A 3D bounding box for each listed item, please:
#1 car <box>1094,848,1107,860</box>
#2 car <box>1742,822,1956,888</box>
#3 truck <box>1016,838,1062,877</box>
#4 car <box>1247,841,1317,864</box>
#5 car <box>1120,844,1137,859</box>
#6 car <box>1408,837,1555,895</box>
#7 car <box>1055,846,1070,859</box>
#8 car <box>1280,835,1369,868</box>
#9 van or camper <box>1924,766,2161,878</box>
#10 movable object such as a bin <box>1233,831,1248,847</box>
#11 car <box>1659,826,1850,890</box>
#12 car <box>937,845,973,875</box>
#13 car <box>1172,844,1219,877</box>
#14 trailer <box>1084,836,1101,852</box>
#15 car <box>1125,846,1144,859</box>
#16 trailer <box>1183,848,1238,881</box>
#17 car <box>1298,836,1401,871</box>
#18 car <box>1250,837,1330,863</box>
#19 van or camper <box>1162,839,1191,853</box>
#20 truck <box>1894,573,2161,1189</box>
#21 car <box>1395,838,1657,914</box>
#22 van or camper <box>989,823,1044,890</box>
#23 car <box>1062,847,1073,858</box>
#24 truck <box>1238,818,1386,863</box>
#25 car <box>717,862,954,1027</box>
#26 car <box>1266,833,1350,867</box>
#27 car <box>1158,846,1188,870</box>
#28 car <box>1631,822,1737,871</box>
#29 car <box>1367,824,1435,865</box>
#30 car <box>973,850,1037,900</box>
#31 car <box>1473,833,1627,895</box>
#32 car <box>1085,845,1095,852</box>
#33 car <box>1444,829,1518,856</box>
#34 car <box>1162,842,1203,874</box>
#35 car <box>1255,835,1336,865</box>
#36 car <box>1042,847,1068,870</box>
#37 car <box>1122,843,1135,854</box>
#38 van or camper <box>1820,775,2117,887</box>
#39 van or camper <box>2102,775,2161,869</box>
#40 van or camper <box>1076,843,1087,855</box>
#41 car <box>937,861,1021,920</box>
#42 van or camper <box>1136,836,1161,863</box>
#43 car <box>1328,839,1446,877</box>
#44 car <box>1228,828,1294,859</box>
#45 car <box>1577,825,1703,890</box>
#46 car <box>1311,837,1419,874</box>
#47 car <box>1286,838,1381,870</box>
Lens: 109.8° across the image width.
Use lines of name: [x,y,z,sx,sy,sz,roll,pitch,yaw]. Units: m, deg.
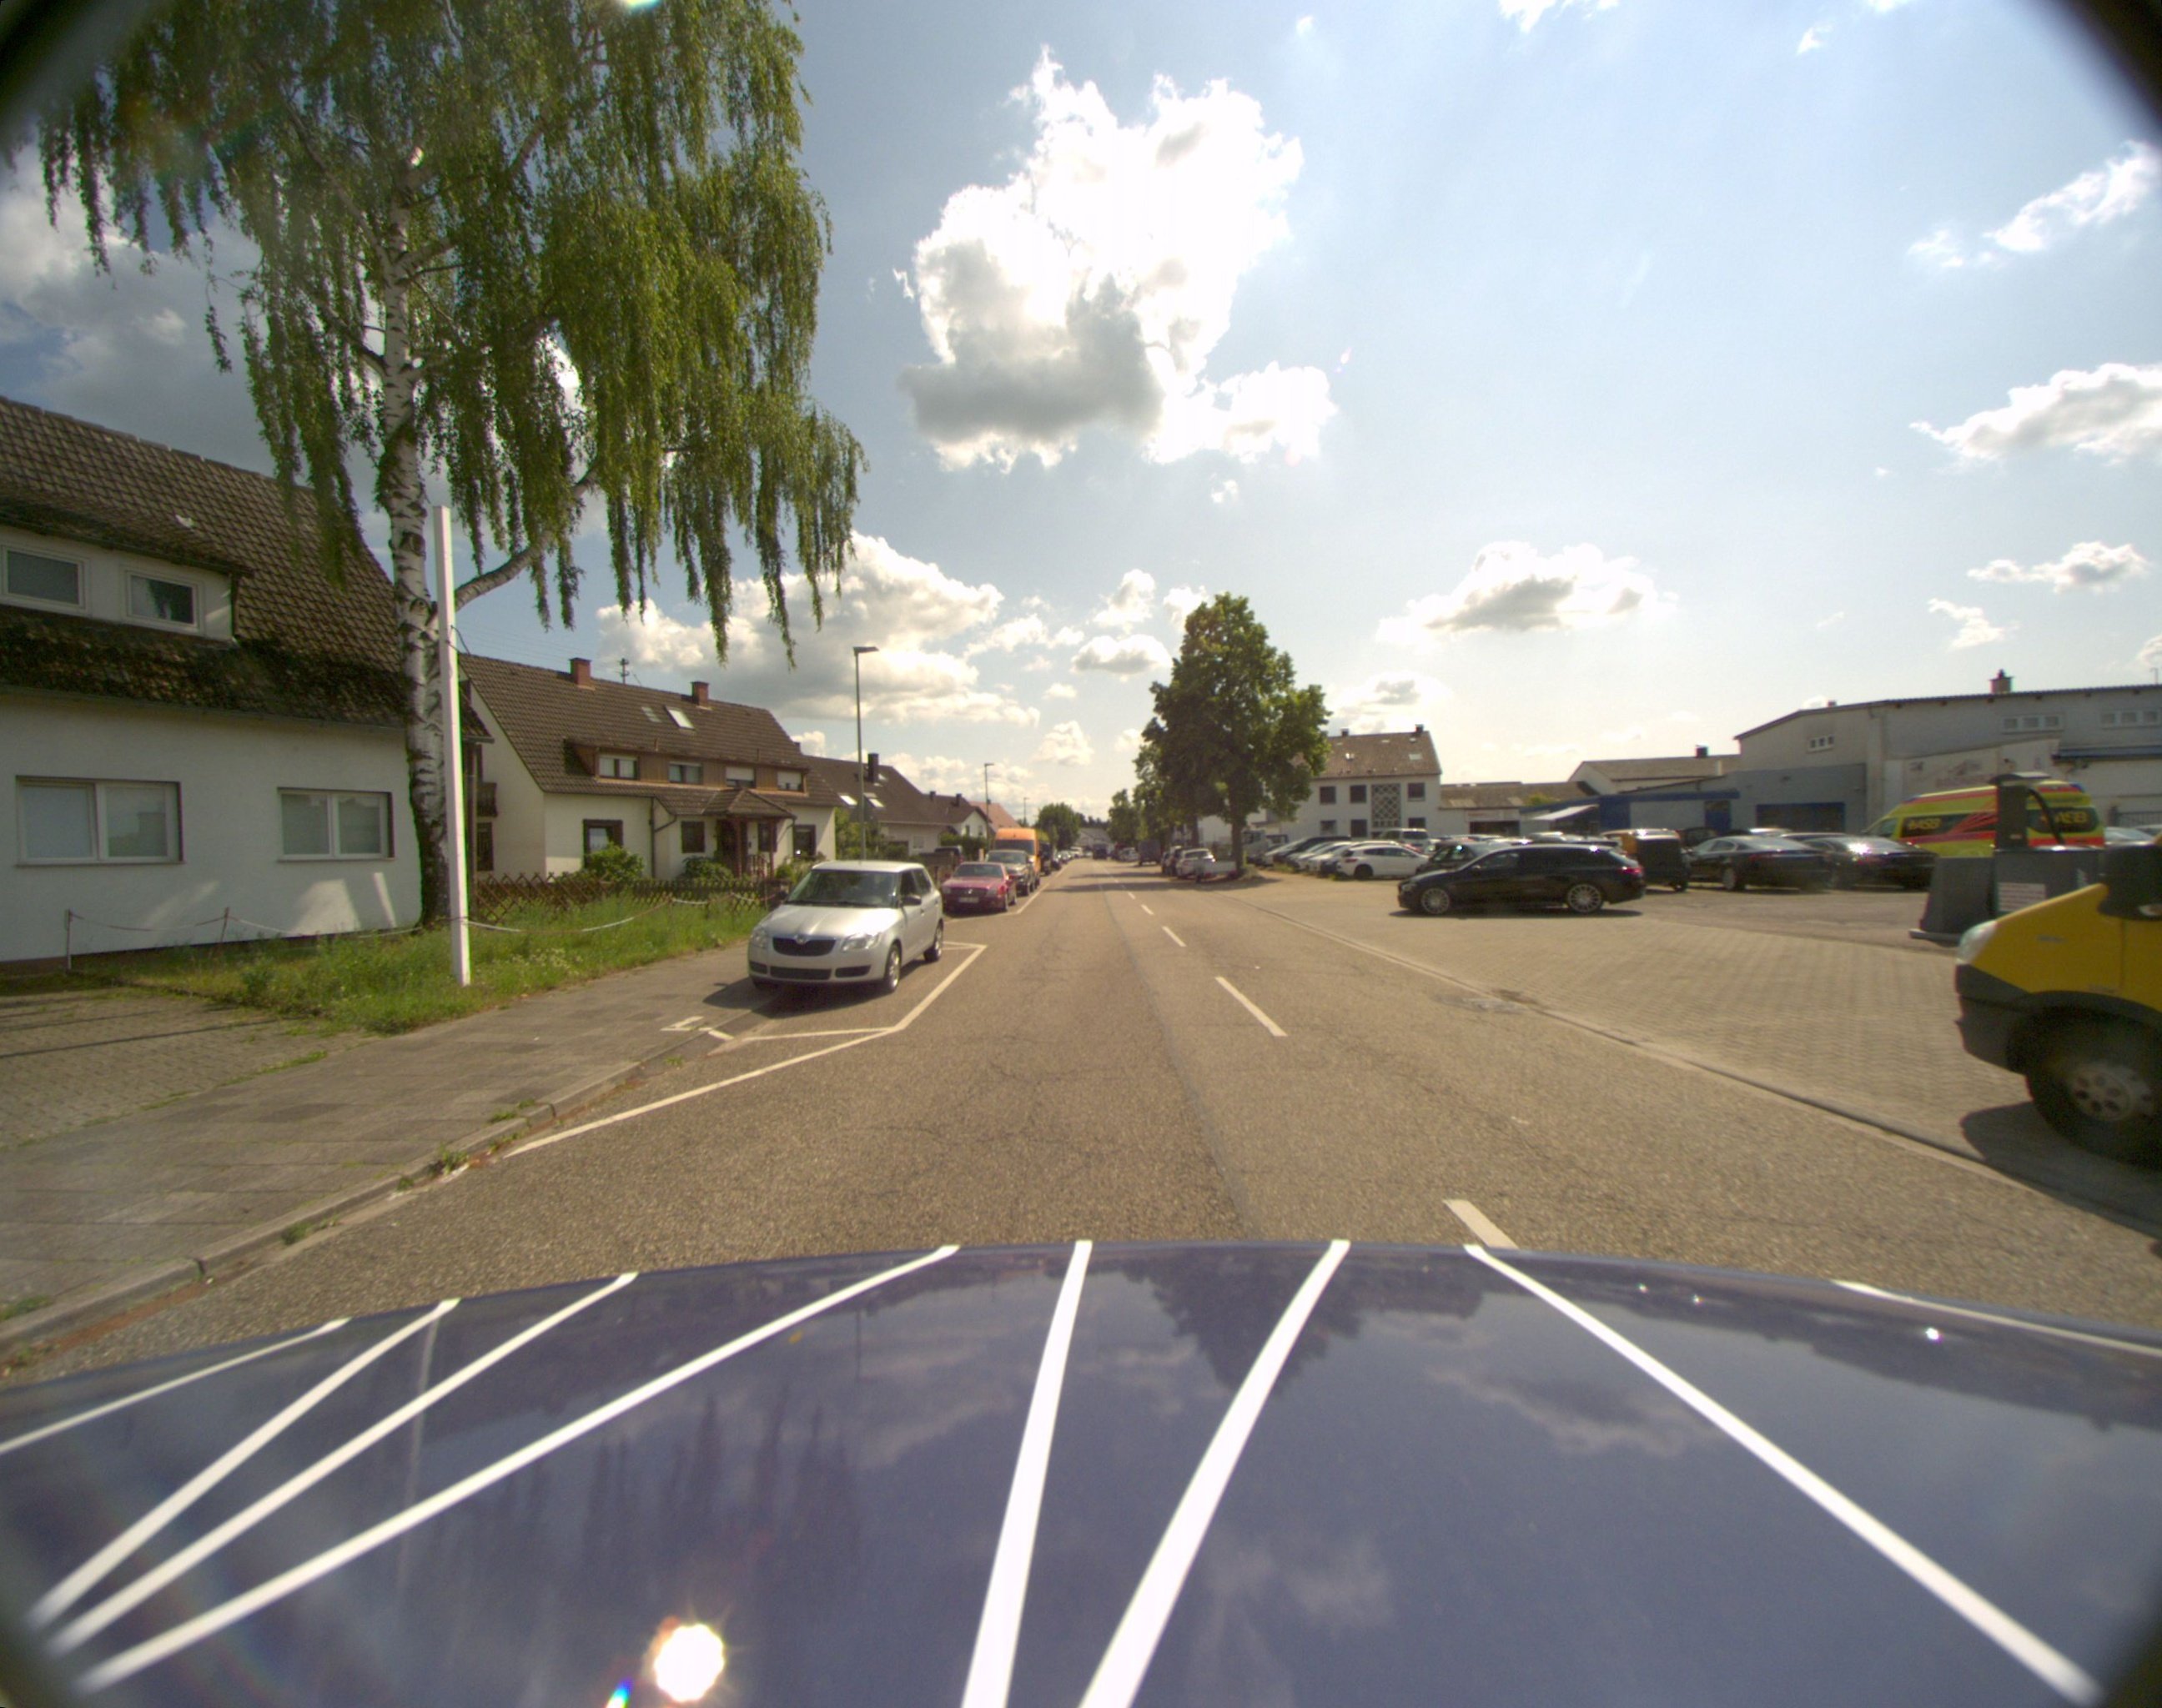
car: [3.259,-0.026,126.147,2.056,2.022,5.140,0,1,0]
car: [19.961,0.000,20.048,1.757,1.525,4.166,-1,1,7]
truck: [-2.697,0.157,50.840,2.528,2.286,5.894,-4,1,1]
car: [13.126,-0.096,49.817,4.207,1.451,1.678,-1,0,3]
car: [6.424,-0.389,102.563,1.814,1.796,4.490,-5,1,0]
car: [11.138,0.286,21.552,1.758,1.402,4.584,-2,1,1]
car: [-2.240,-0.208,93.378,1.748,1.542,4.120,-1,1,-1]
car: [12.812,-0.131,40.186,4.153,1.609,1.827,-1,2,3]
van or camper: [25.030,-0.740,19.184,1.997,2.461,5.364,-2,0,8]
movable object such as a bin: [16.152,-1.524,76.779,1.311,1.422,1.606,-2,-5,17]
car: [17.763,0.071,20.360,1.757,1.525,4.166,0,1,7]
car: [-8.278,0.358,50.210,1.862,1.855,5.018,-2,1,-4]
car: [5.924,0.303,39.746,1.837,1.519,4.237,-4,1,2]
trailer: [2.161,-1.932,147.196,2.842,3.051,8.886,-2,1,-2]
car: [6.809,-0.203,96.700,1.753,1.453,4.708,-5,0,-2]
trailer: [5.893,0.442,35.049,1.766,1.282,4.507,-5,1,1]
car: [12.470,-0.055,35.493,4.153,1.481,1.827,-1,2,3]
car: [13.034,-0.229,47.616,4.535,1.573,1.827,-1,0,3]
van or camper: [12.212,-1.009,96.934,1.776,1.534,4.007,-3,1,36]
truck: [5.995,0.121,1.075,2.226,2.841,7.069,-3,1,2]
car: [9.422,0.490,16.324,4.581,1.386,2.004,-3,0,35]
van or camper: [-2.739,0.052,33.611,1.999,2.649,5.767,-2,1,-1]
car: [-2.247,-0.193,127.561,1.896,1.763,4.708,-1,1,0]
truck: [15.696,-0.898,52.173,9.278,2.839,2.721,-1,1,5]
car: [-2.934,0.987,10.045,1.614,1.571,4.000,-3,1,2]
car: [12.679,-0.244,42.629,4.153,1.778,1.827,-1,2,3]
car: [6.031,0.246,50.099,1.703,1.475,4.159,-2,1,4]
car: [25.288,-0.317,32.032,1.714,1.884,4.002,-1,1,8]
car: [16.573,-0.497,39.542,1.715,2.002,3.998,-2,1,-2]
car: [-2.708,0.705,28.003,1.837,1.630,4.239,-2,1,0]
car: [13.075,0.235,21.544,1.758,1.525,4.257,-2,1,1]
car: [1.960,-1.257,173.176,1.818,1.514,4.266,-1,0,6]
car: [29.478,-0.866,56.154,4.487,1.782,2.001,-2,2,13]
car: [5.928,0.185,44.903,1.697,1.690,4.399,-4,1,0]
car: [12.766,-0.238,45.378,4.305,1.605,1.827,-1,0,0]
car: [-2.071,0.314,61.337,1.834,1.652,4.553,-2,1,1]
car: [6.721,-0.772,108.298,1.626,1.461,3.925,-5,1,2]
van or camper: [22.764,-0.522,19.949,1.997,2.461,5.364,-2,0,8]
van or camper: [29.002,-0.862,18.319,1.997,2.461,5.364,-2,0,8]
van or camper: [0.076,-1.073,159.467,1.972,2.345,5.759,-1,0,4]
car: [-2.735,0.933,21.232,1.673,1.327,4.437,-2,1,0]
van or camper: [6.478,-0.495,73.098,1.998,2.303,5.934,-5,1,3]
car: [12.257,0.151,30.621,4.035,1.366,1.827,-1,2,5]
car: [14.237,-0.822,60.210,5.008,2.219,2.001,-2,2,13]
car: [15.458,0.062,21.193,1.445,1.646,3.302,-1,1,8]
car: [12.333,0.047,33.156,4.035,1.481,1.827,-1,2,3]
car: [12.563,-0.005,37.936,4.153,1.423,1.827,-1,2,3]
